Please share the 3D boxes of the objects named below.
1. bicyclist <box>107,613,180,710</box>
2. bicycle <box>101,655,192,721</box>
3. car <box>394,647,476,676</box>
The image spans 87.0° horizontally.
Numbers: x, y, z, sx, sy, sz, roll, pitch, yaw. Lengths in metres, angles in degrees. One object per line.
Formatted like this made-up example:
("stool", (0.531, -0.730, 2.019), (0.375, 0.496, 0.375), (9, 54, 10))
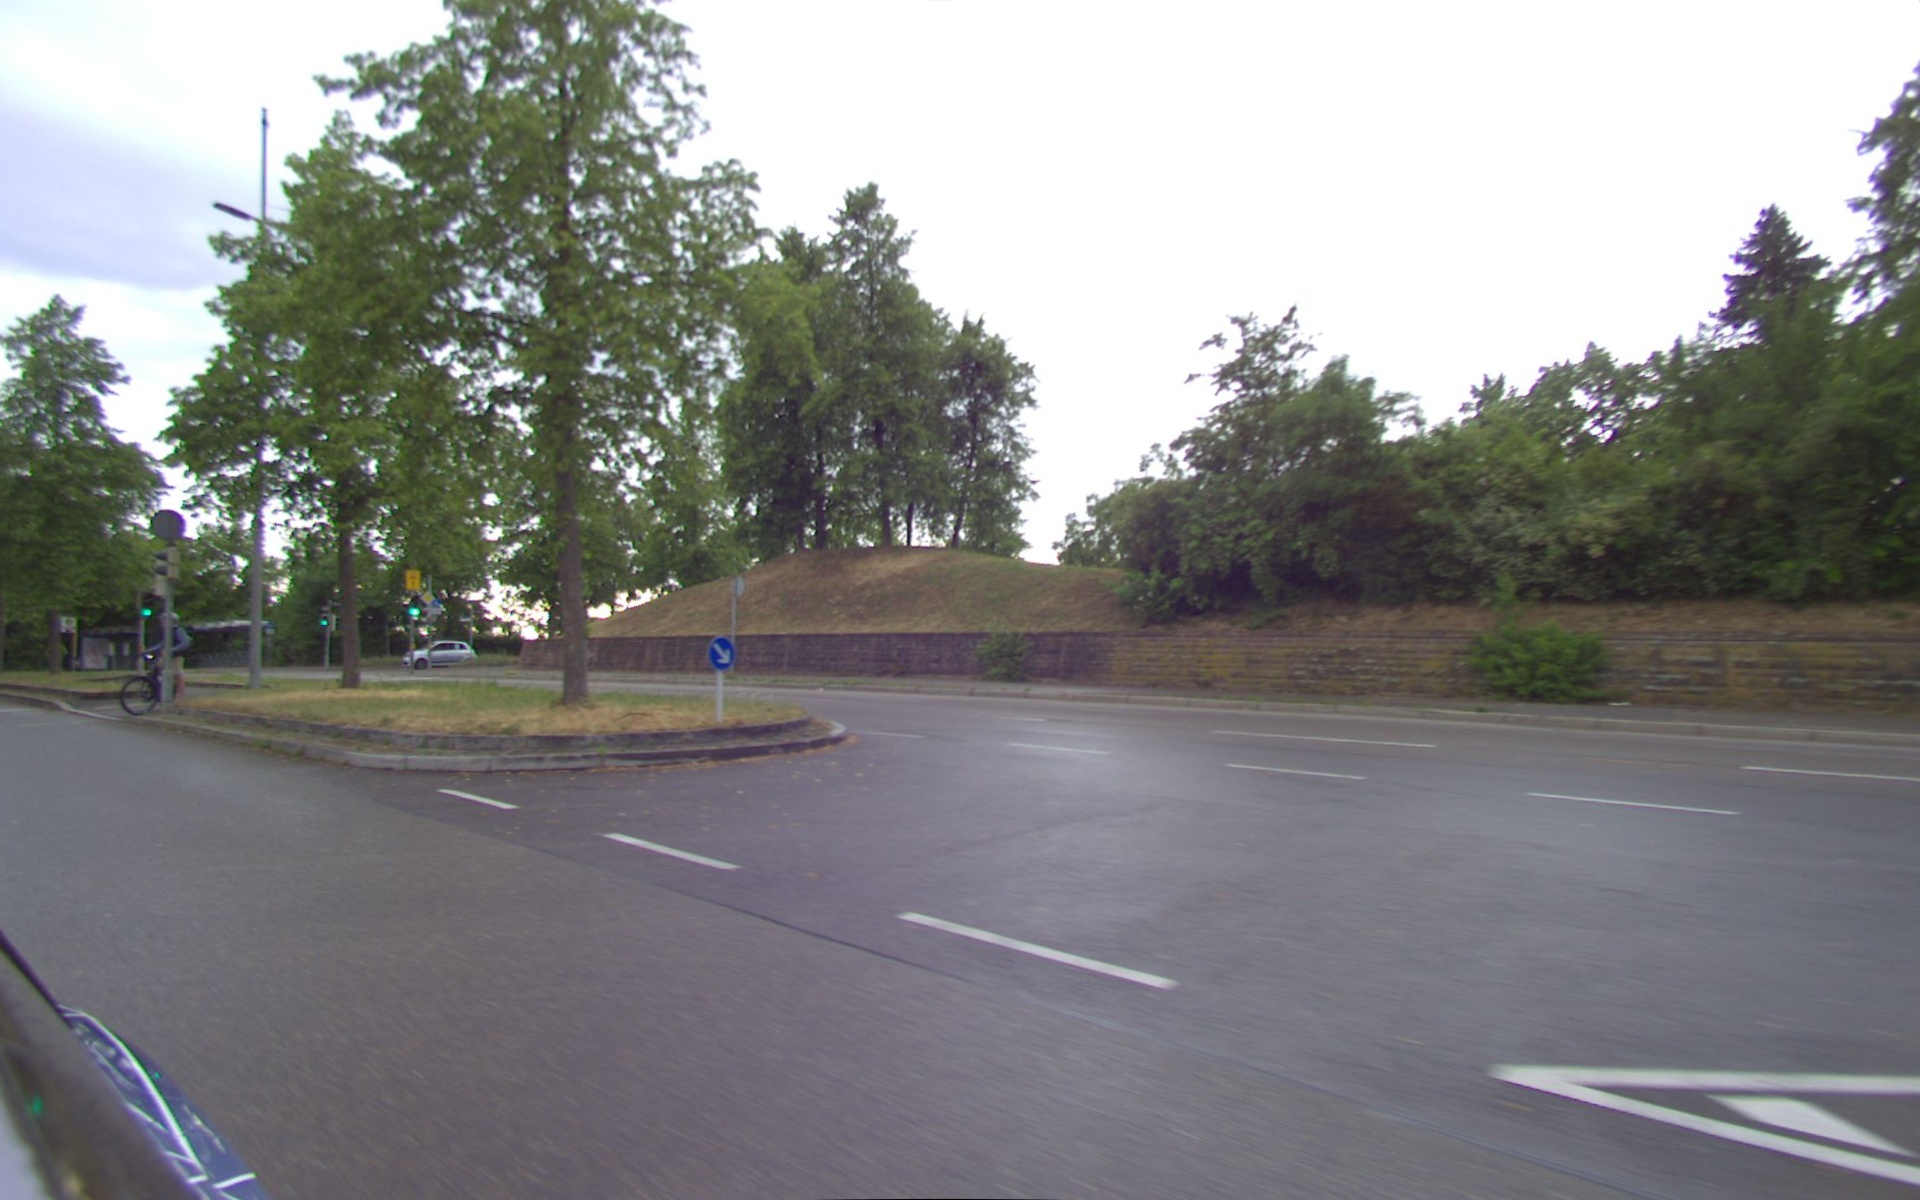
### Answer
("bicyclist", (-15.308, 1.142, 18.999), (0.713, 1.765, 0.804), (3, -3, -16))
("bicycle", (-15.446, 1.647, 19.275), (0.544, 1.151, 2.146), (1, -2, -16))
("car", (-28.596, 3.317, 55.150), (3.639, 1.490, 1.764), (2, -3, -40))
